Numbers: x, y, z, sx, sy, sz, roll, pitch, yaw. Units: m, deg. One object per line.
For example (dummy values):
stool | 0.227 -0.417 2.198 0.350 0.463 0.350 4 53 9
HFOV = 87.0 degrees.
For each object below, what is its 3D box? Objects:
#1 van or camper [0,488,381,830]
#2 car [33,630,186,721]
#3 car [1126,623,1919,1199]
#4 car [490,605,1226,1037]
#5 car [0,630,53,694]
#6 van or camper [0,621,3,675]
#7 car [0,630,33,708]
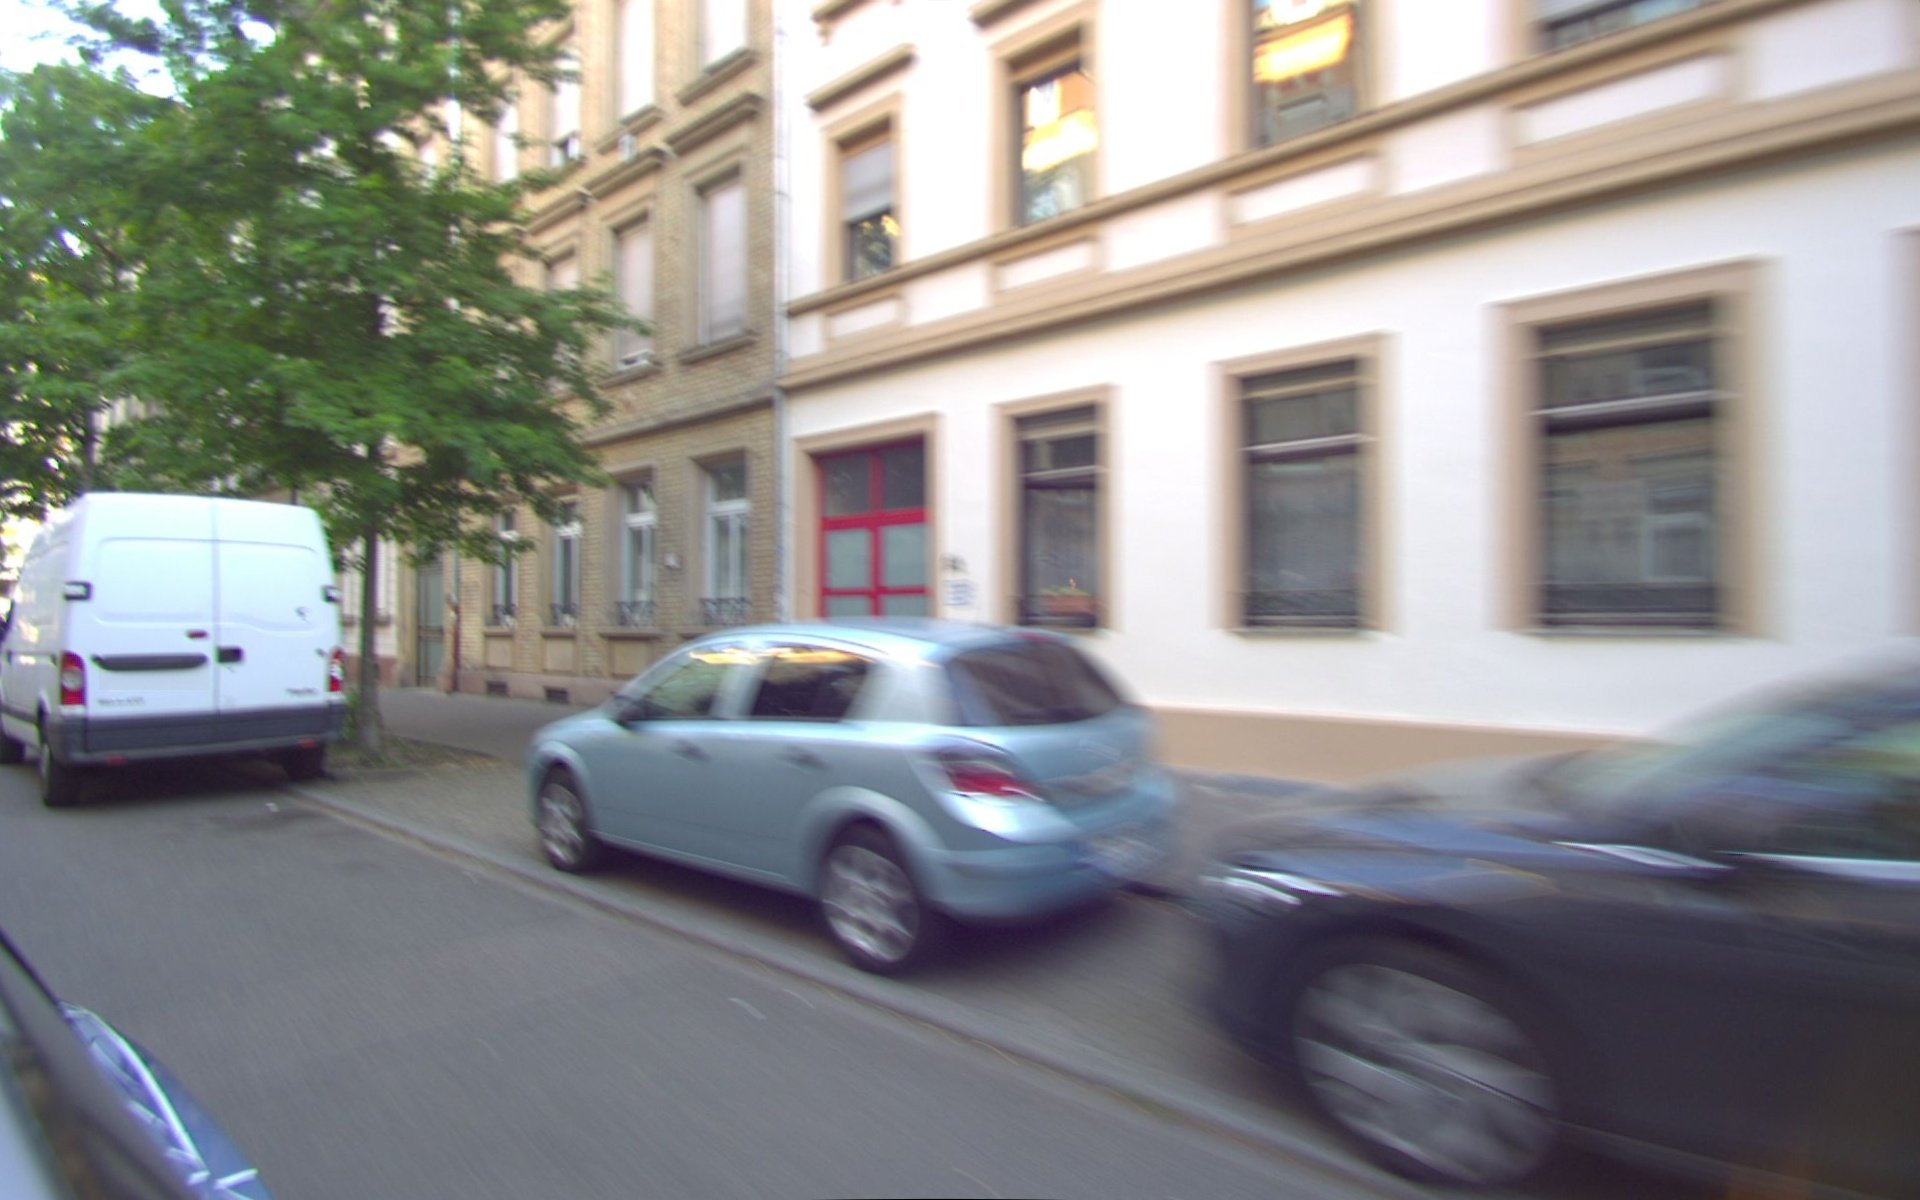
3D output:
van or camper | -7.974 0.506 9.968 5.657 2.449 2.196 -2 -3 41
car | -15.620 1.303 18.529 3.846 1.451 1.593 -2 -1 41
car | 2.691 0.791 2.373 4.255 1.473 1.749 -2 -2 40
car | -0.825 0.825 5.565 4.111 1.521 1.666 -2 -2 41
car | -24.177 1.519 25.398 3.756 1.506 1.733 -2 -2 42
van or camper | -35.008 1.691 35.443 3.752 1.872 1.663 -2 -2 38
car | -20.171 1.343 20.258 4.277 1.468 1.644 -2 -3 38
